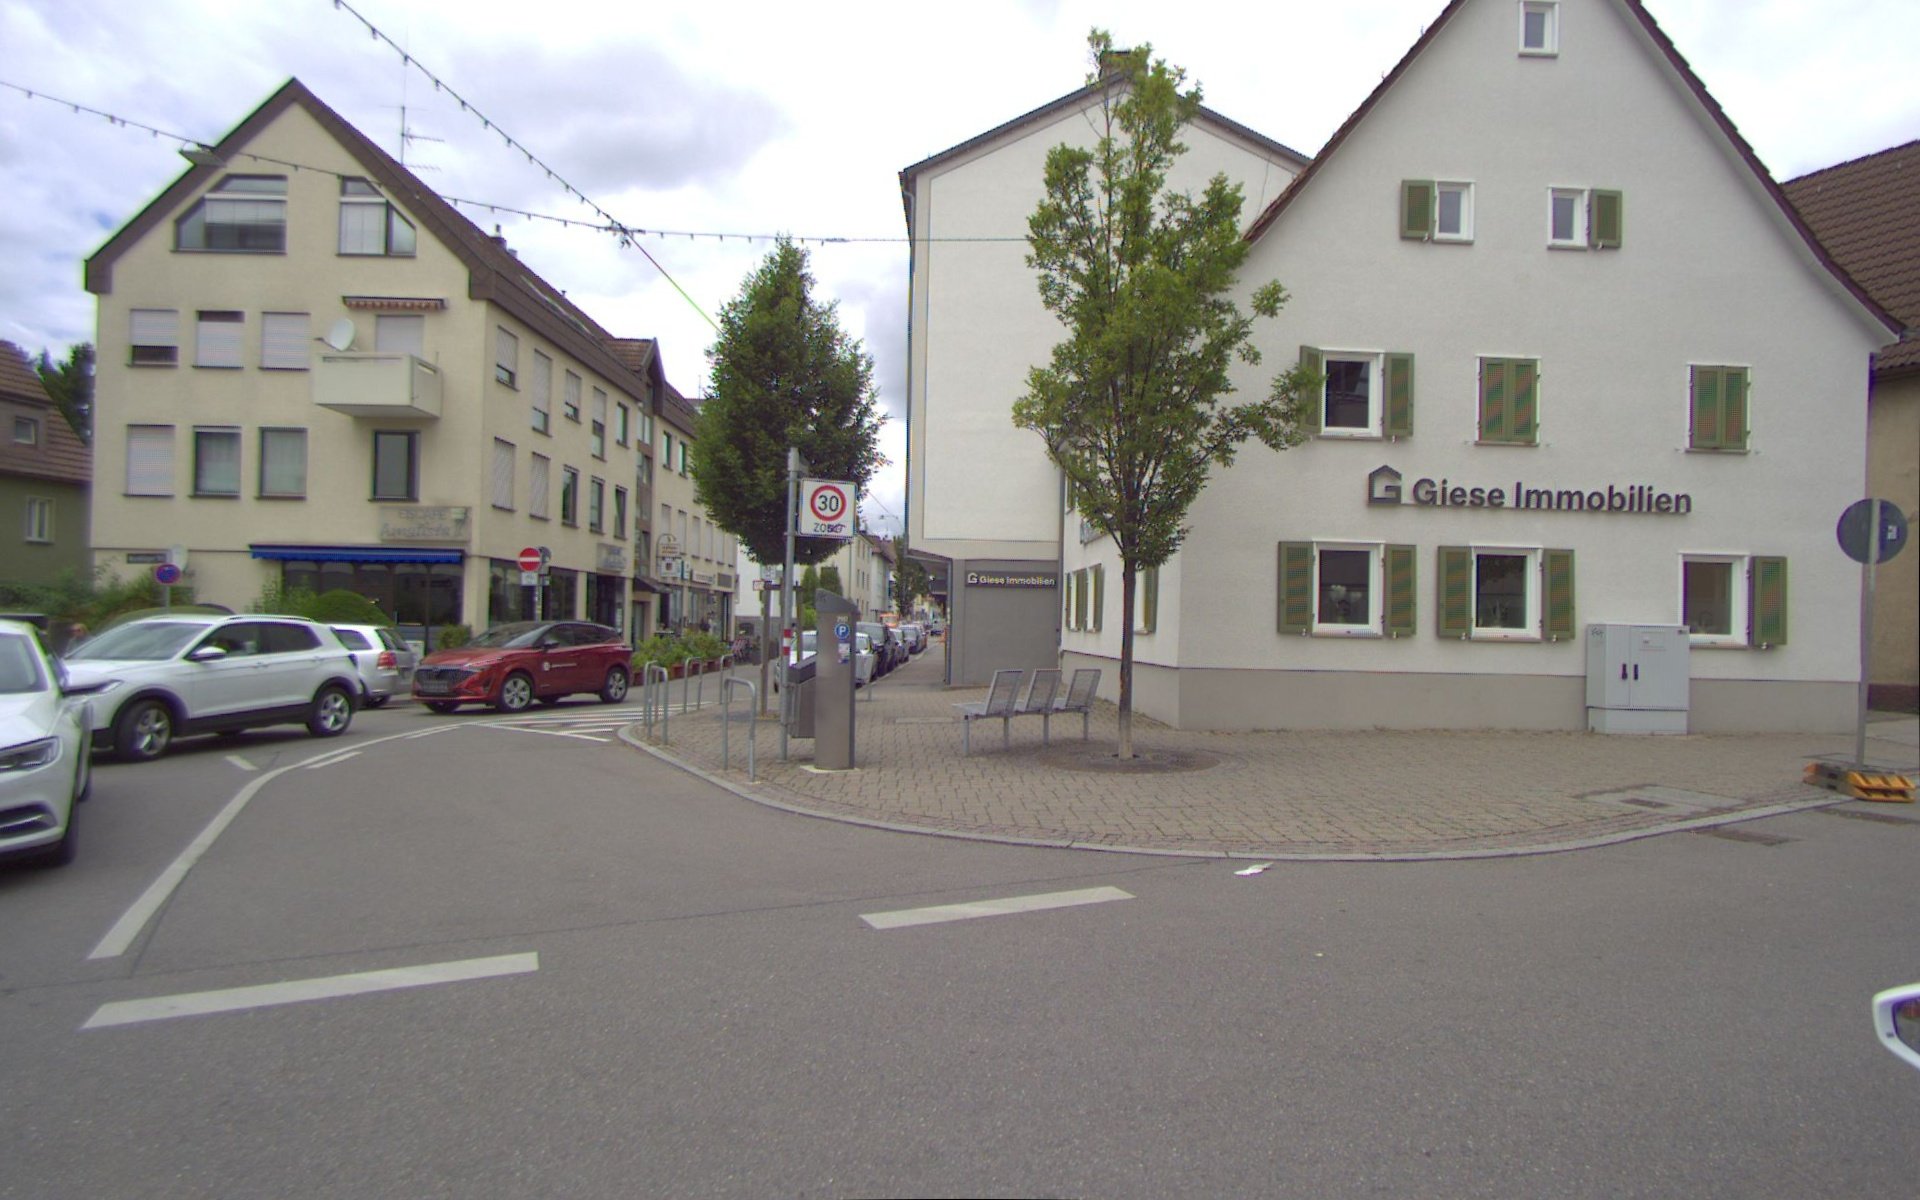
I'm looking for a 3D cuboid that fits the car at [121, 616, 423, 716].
[{"bbox_3d":[-12.425,1.157,18.534,4.268,1.661,1.988,1,-2,-25],"label":"car"}]

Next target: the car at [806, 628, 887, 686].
[{"bbox_3d":[-3.343,1.661,30.430,1.982,1.477,4.387,1,0,-1],"label":"car"}]

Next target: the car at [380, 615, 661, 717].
[{"bbox_3d":[-7.915,1.101,18.723,1.981,1.578,4.919,1,0,19],"label":"car"}]

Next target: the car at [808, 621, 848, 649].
[{"bbox_3d":[-8.263,2.189,63.087,1.961,1.661,4.328,0,-2,-1],"label":"car"}]

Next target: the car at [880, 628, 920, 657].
[{"bbox_3d":[-3.268,2.311,55.484,1.982,1.385,4.387,1,0,-1],"label":"car"}]

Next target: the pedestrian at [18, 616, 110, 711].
[{"bbox_3d":[-16.321,1.140,18.316,0.755,1.691,0.955,0,-2,15],"label":"pedestrian"}]

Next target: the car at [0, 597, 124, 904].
[{"bbox_3d":[-6.884,0.736,6.403,2.230,1.496,4.864,1,0,-38],"label":"car"}]

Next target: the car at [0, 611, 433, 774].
[{"bbox_3d":[-9.178,0.956,12.604,1.980,1.578,4.922,1,0,9],"label":"car"}]

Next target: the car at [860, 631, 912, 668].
[{"bbox_3d":[-3.158,2.105,43.770,1.982,1.385,4.387,1,0,-1],"label":"car"}]

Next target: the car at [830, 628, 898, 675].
[{"bbox_3d":[-3.266,1.746,35.011,1.982,1.385,4.387,1,0,-1],"label":"car"}]

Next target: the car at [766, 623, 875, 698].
[{"bbox_3d":[-3.368,1.411,25.144,1.981,1.578,4.919,1,0,0],"label":"car"}]
